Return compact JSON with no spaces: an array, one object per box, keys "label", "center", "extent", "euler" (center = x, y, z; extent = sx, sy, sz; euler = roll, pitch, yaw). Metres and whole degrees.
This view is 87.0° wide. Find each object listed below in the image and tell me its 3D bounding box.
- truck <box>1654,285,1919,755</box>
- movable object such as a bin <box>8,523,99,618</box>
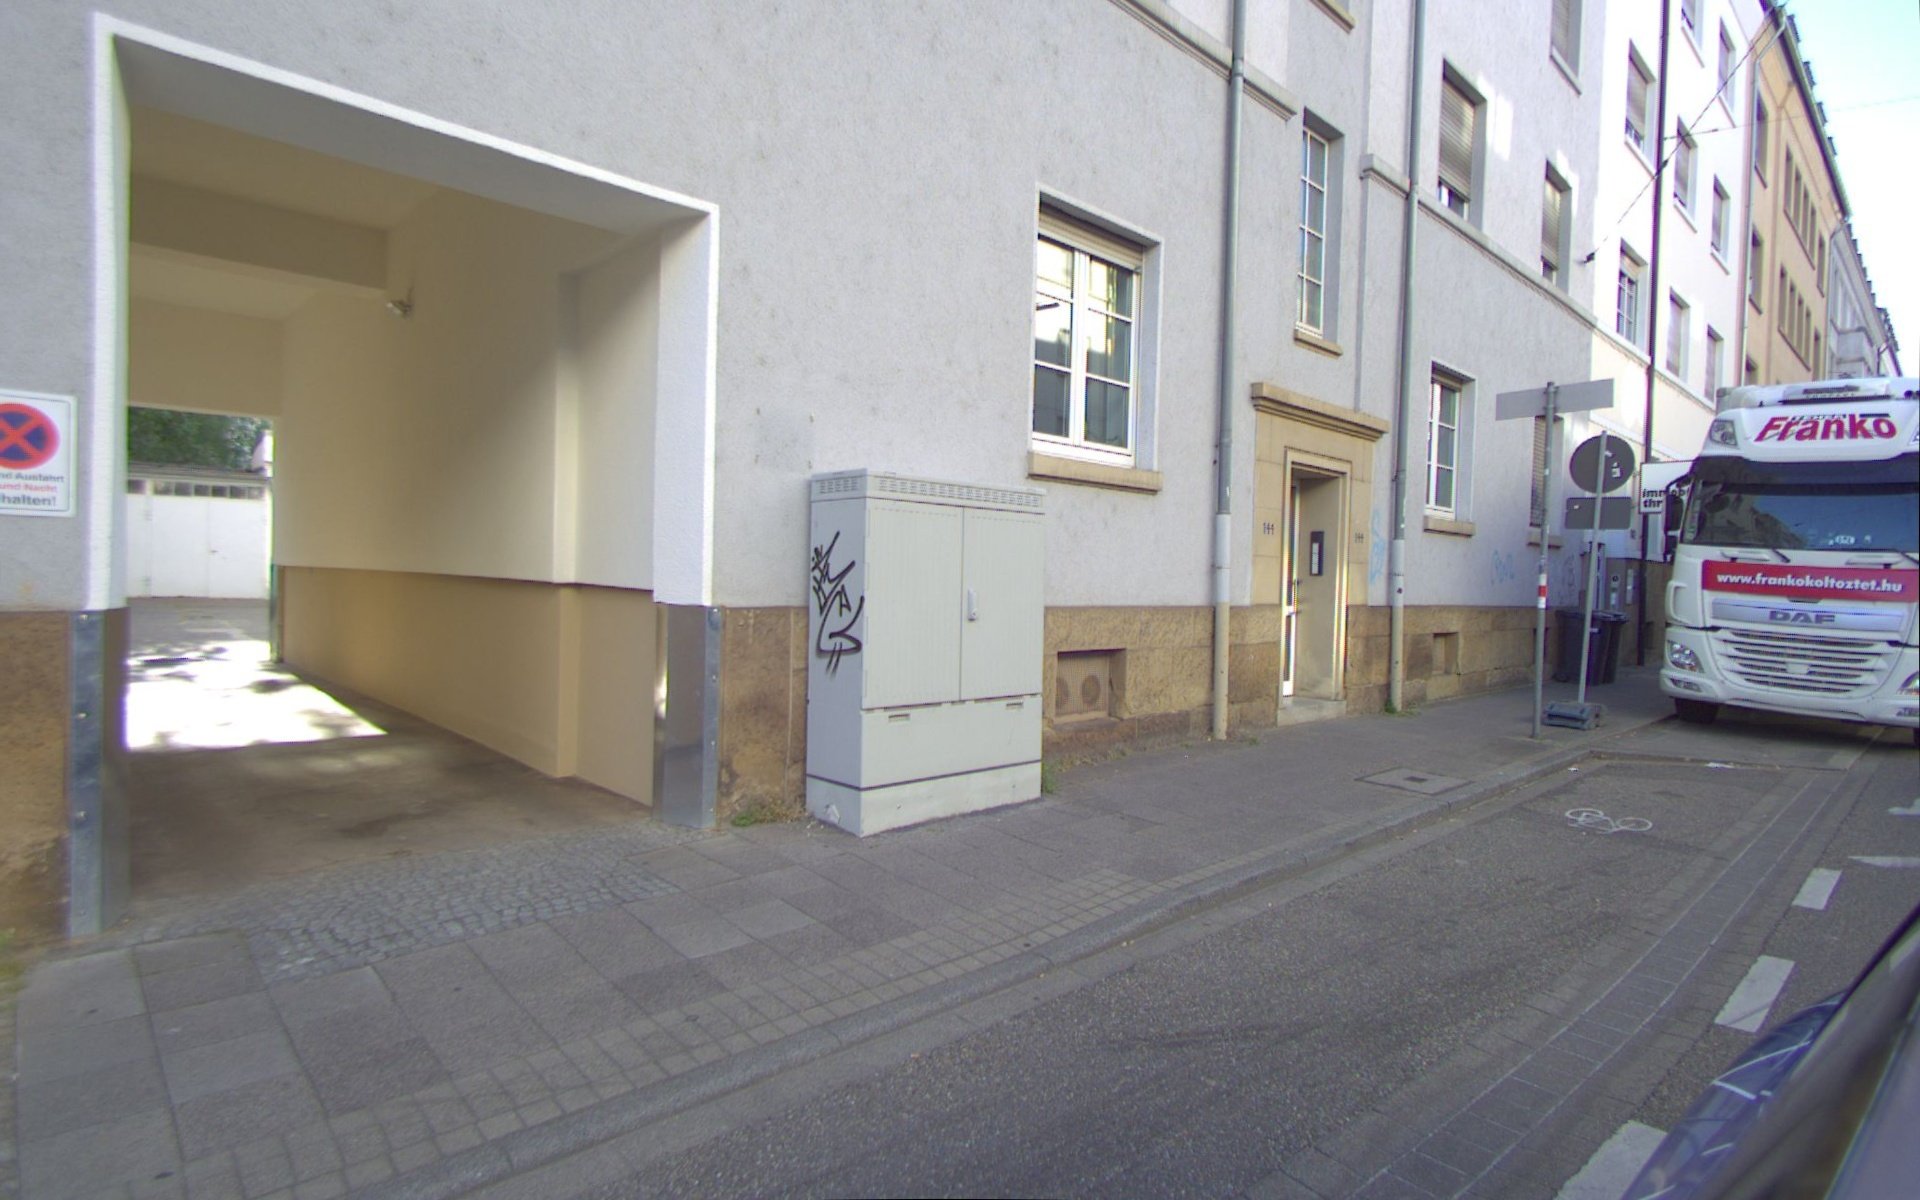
[{"label":"truck","center":[12.567,-0.856,13.692],"extent":[11.579,4.290,2.697],"euler":[-1,3,-43]},{"label":"movable object such as a bin","center":[-15.135,-0.481,16.930],"extent":[1.091,1.512,1.328],"euler":[0,0,-41]}]
